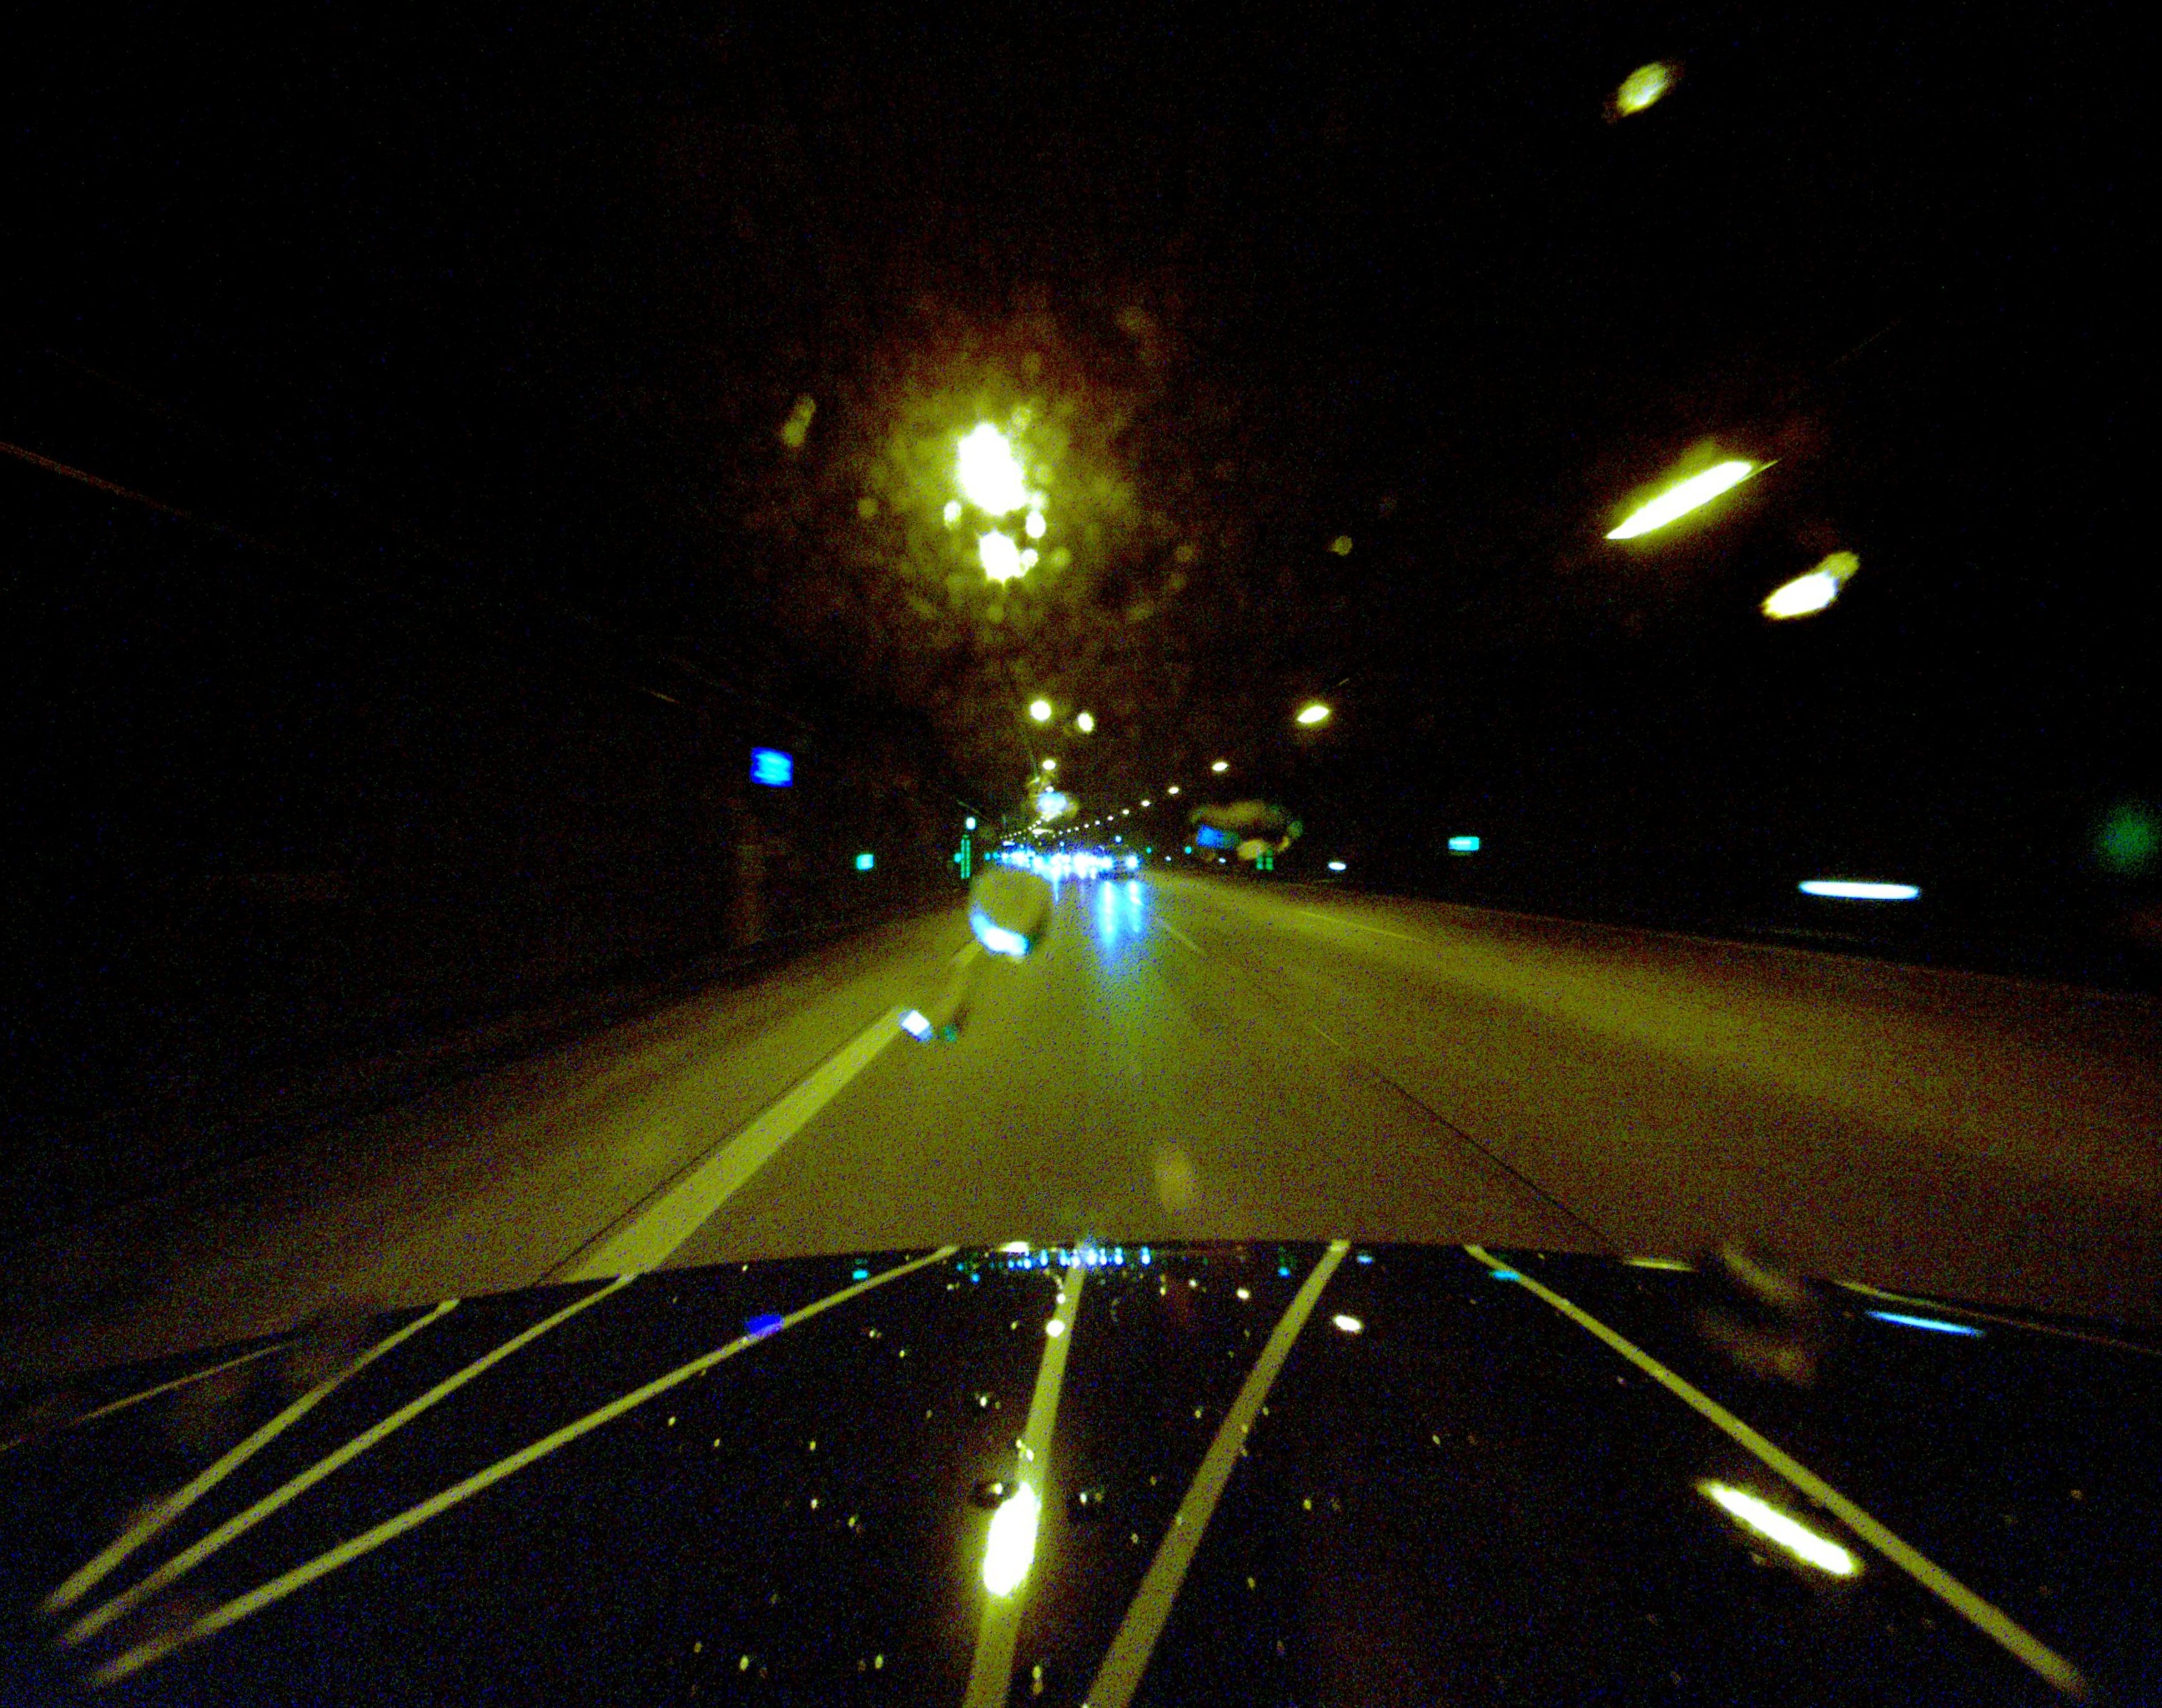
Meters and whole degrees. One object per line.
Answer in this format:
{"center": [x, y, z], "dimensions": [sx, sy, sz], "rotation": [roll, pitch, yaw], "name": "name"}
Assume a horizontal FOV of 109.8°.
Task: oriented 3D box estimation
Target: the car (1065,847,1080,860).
{"center": [-1.101, -0.099, 95.735], "dimensions": [1.759, 1.567, 3.998], "rotation": [-2, 0, -3], "name": "car"}

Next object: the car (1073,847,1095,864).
{"center": [0.302, 0.165, 76.711], "dimensions": [1.911, 1.637, 3.998], "rotation": [-2, 0, -3], "name": "car"}

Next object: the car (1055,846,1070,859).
{"center": [-2.954, -0.189, 120.867], "dimensions": [1.999, 2.002, 3.998], "rotation": [-2, 0, -5], "name": "car"}

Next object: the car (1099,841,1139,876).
{"center": [2.291, 0.333, 46.792], "dimensions": [1.999, 2.001, 4.360], "rotation": [-2, -1, -3], "name": "car"}

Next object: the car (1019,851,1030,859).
{"center": [-12.749, 0.213, 171.567], "dimensions": [2.000, 1.729, 3.996], "rotation": [-2, 0, -9], "name": "car"}

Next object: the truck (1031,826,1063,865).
{"center": [-3.923, -0.999, 85.770], "dimensions": [3.143, 4.136, 7.383], "rotation": [-2, 1, -5], "name": "truck"}
